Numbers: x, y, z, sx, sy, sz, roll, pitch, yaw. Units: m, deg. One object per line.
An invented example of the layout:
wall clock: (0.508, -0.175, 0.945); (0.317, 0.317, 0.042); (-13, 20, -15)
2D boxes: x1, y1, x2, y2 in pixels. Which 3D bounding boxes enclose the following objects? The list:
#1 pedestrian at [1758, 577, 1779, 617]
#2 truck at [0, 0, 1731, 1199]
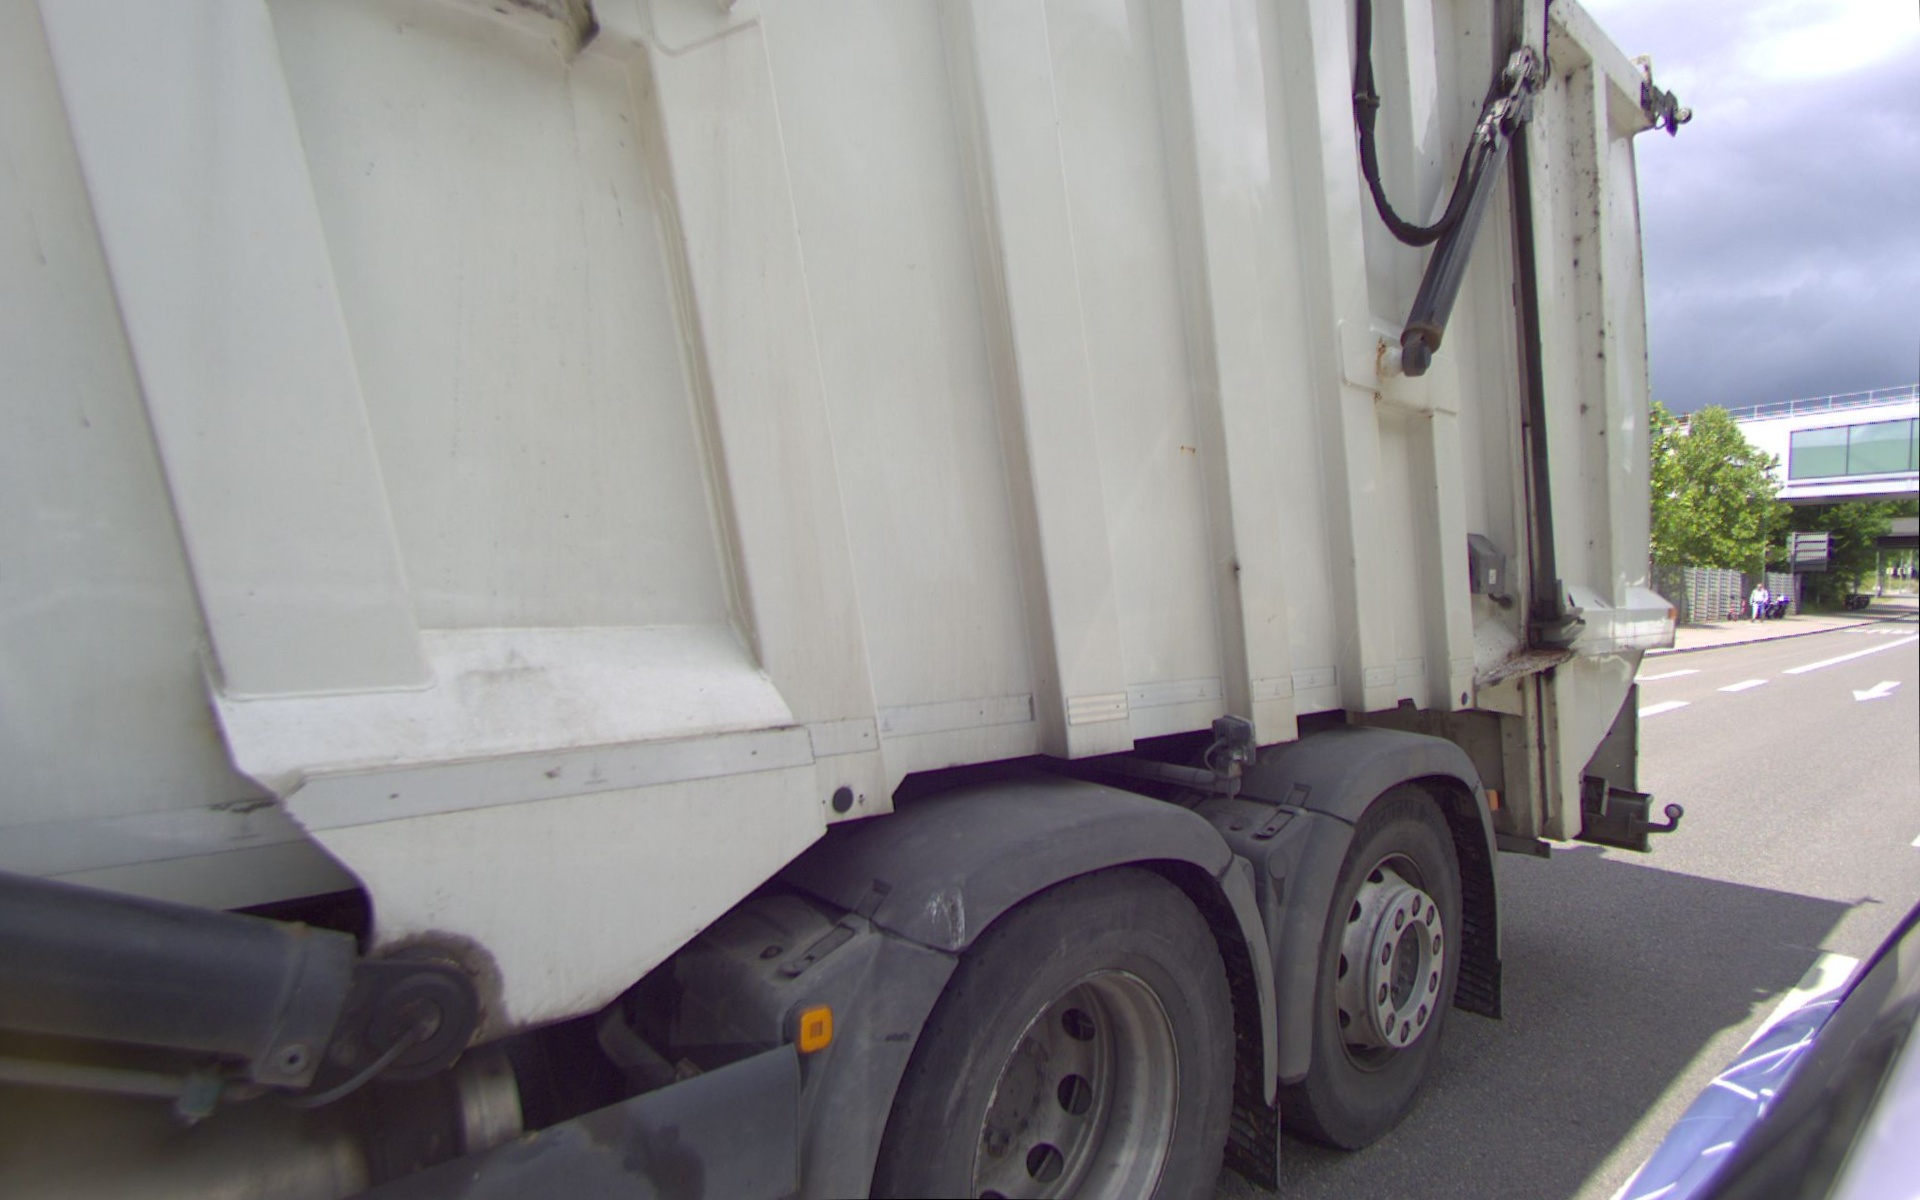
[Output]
pedestrian: (39.586, -0.153, 49.542); (0.648, 1.936, 0.737); (0, 0, -45)
truck: (-0.848, -0.683, 2.442); (9.999, 3.962, 2.492); (-1, 0, -42)
